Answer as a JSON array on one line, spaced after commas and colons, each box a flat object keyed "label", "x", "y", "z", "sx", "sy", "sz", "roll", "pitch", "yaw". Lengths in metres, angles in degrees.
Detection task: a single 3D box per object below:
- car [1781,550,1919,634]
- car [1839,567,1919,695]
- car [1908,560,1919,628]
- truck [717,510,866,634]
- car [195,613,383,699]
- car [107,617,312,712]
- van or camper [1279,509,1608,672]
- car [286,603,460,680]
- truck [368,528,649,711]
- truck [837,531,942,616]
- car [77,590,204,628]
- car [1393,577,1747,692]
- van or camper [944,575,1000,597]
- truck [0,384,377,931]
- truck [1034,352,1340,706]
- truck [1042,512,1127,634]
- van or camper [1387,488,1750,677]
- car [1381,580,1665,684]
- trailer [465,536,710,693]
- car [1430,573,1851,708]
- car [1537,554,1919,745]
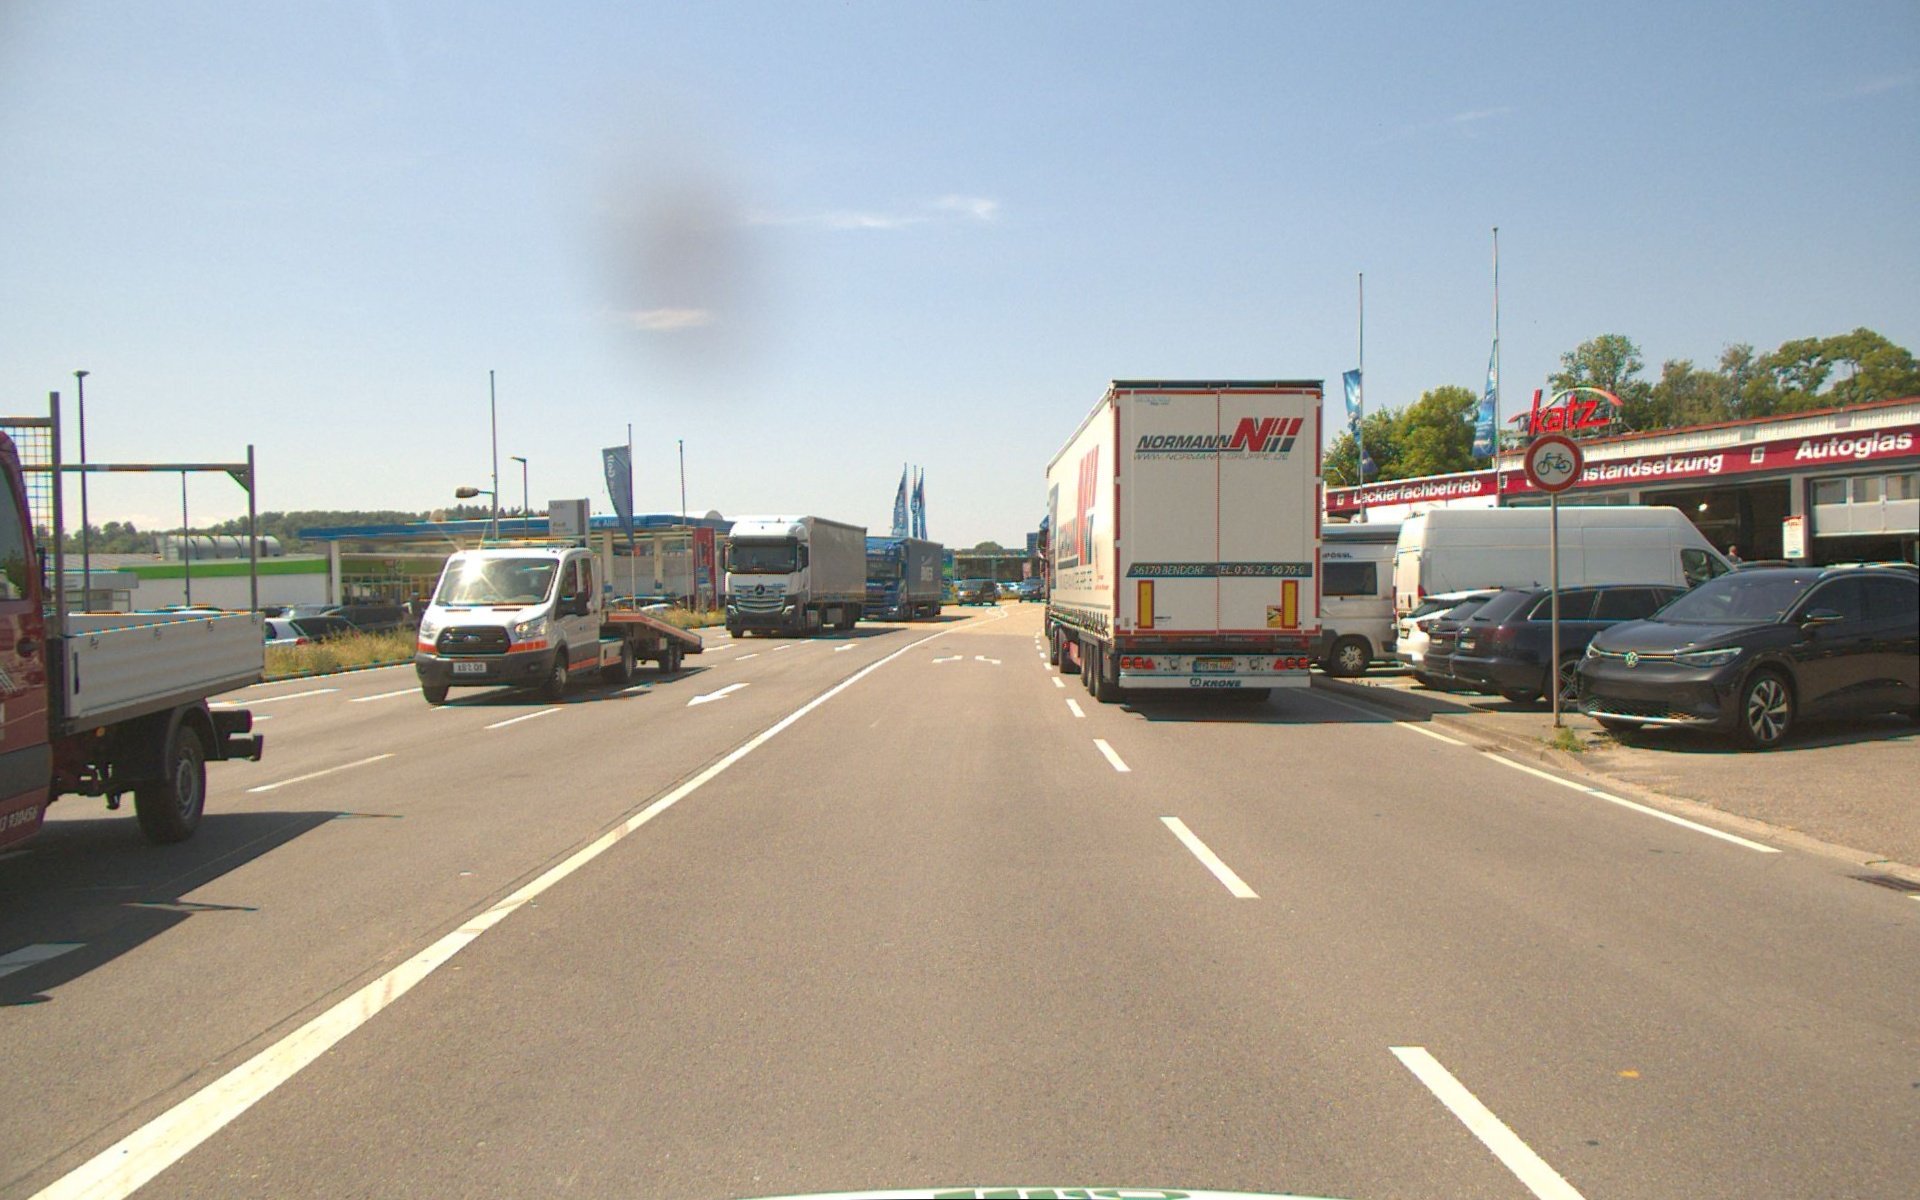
[{"label": "car", "x": 20.321, "y": -0.216, "z": 36.198, "sx": 3.921, "sy": 1.601, "sz": 1.848, "roll": -4, "pitch": 1, "yaw": -14}, {"label": "car", "x": 12.694, "y": 0.348, "z": 20.718, "sx": 1.771, "sy": 1.554, "sz": 4.386, "roll": -2, "pitch": 0, "yaw": 12}, {"label": "car", "x": 21.296, "y": -0.100, "z": 33.651, "sx": 3.537, "sy": 1.398, "sz": 1.667, "roll": 1, "pitch": 0, "yaw": -22}, {"label": "truck", "x": -5.847, "y": -0.868, "z": 60.885, "sx": 2.731, "sy": 3.957, "sz": 16.490, "roll": 0, "pitch": 0, "yaw": 4}, {"label": "car", "x": -15.543, "y": 1.262, "z": 38.332, "sx": 3.816, "sy": 1.780, "sz": 1.782, "roll": -2, "pitch": 0, "yaw": -31}, {"label": "car", "x": -15.808, "y": 1.314, "z": 34.844, "sx": 3.813, "sy": 1.780, "sz": 1.783, "roll": -2, "pitch": 0, "yaw": -29}, {"label": "van or camper", "x": 8.701, "y": -0.164, "z": 30.182, "sx": 5.361, "sy": 2.777, "sz": 2.233, "roll": -1, "pitch": 0, "yaw": 2}, {"label": "car", "x": -14.643, "y": 1.006, "z": 41.281, "sx": 3.816, "sy": 1.716, "sz": 1.782, "roll": -2, "pitch": 0, "yaw": -31}, {"label": "truck", "x": -6.710, "y": 0.242, "z": 25.432, "sx": 2.374, "sy": 2.381, "sz": 5.677, "roll": -3, "pitch": 0, "yaw": 3}, {"label": "truck", "x": -3.385, "y": -1.213, "z": 85.572, "sx": 2.783, "sy": 3.957, "sz": 17.017, "roll": 0, "pitch": 0, "yaw": 7}, {"label": "car", "x": -31.695, "y": 0.352, "z": 64.081, "sx": 4.101, "sy": 1.332, "sz": 1.691, "roll": -2, "pitch": 0, "yaw": -16}, {"label": "car", "x": 8.514, "y": 0.456, "z": 23.366, "sx": 4.238, "sy": 1.525, "sz": 2.081, "roll": 0, "pitch": 0, "yaw": -2}, {"label": "van or camper", "x": 1.060, "y": -1.267, "z": 146.528, "sx": 4.744, "sy": 1.938, "sz": 1.906, "roll": 0, "pitch": 0, "yaw": 9}, {"label": "truck", "x": -5.503, "y": 0.263, "z": 8.506, "sx": 2.346, "sy": 2.487, "sz": 6.874, "roll": 0, "pitch": 0, "yaw": 2}, {"label": "truck", "x": 3.074, "y": -0.868, "z": 28.336, "sx": 2.912, "sy": 4.165, "sz": 17.635, "roll": 0, "pitch": 0, "yaw": 0}, {"label": "truck", "x": 4.413, "y": -0.907, "z": 60.417, "sx": 2.592, "sy": 3.872, "sz": 13.365, "roll": -2, "pitch": 0, "yaw": 3}, {"label": "van or camper", "x": 10.065, "y": -0.280, "z": 27.728, "sx": 5.257, "sy": 2.956, "sz": 2.233, "roll": -1, "pitch": 0, "yaw": 2}, {"label": "car", "x": 8.583, "y": 0.467, "z": 25.423, "sx": 3.732, "sy": 1.525, "sz": 1.853, "roll": 0, "pitch": 0, "yaw": -2}, {"label": "trailer", "x": -6.455, "y": 0.221, "z": 29.747, "sx": 2.377, "sy": 2.379, "sz": 6.899, "roll": -3, "pitch": 0, "yaw": 3}, {"label": "car", "x": 8.109, "y": 0.452, "z": 20.010, "sx": 4.238, "sy": 1.525, "sz": 2.081, "roll": 0, "pitch": 0, "yaw": -2}, {"label": "car", "x": 8.178, "y": 0.418, "z": 16.723, "sx": 4.275, "sy": 1.653, "sz": 2.044, "roll": -2, "pitch": 0, "yaw": -27}]
